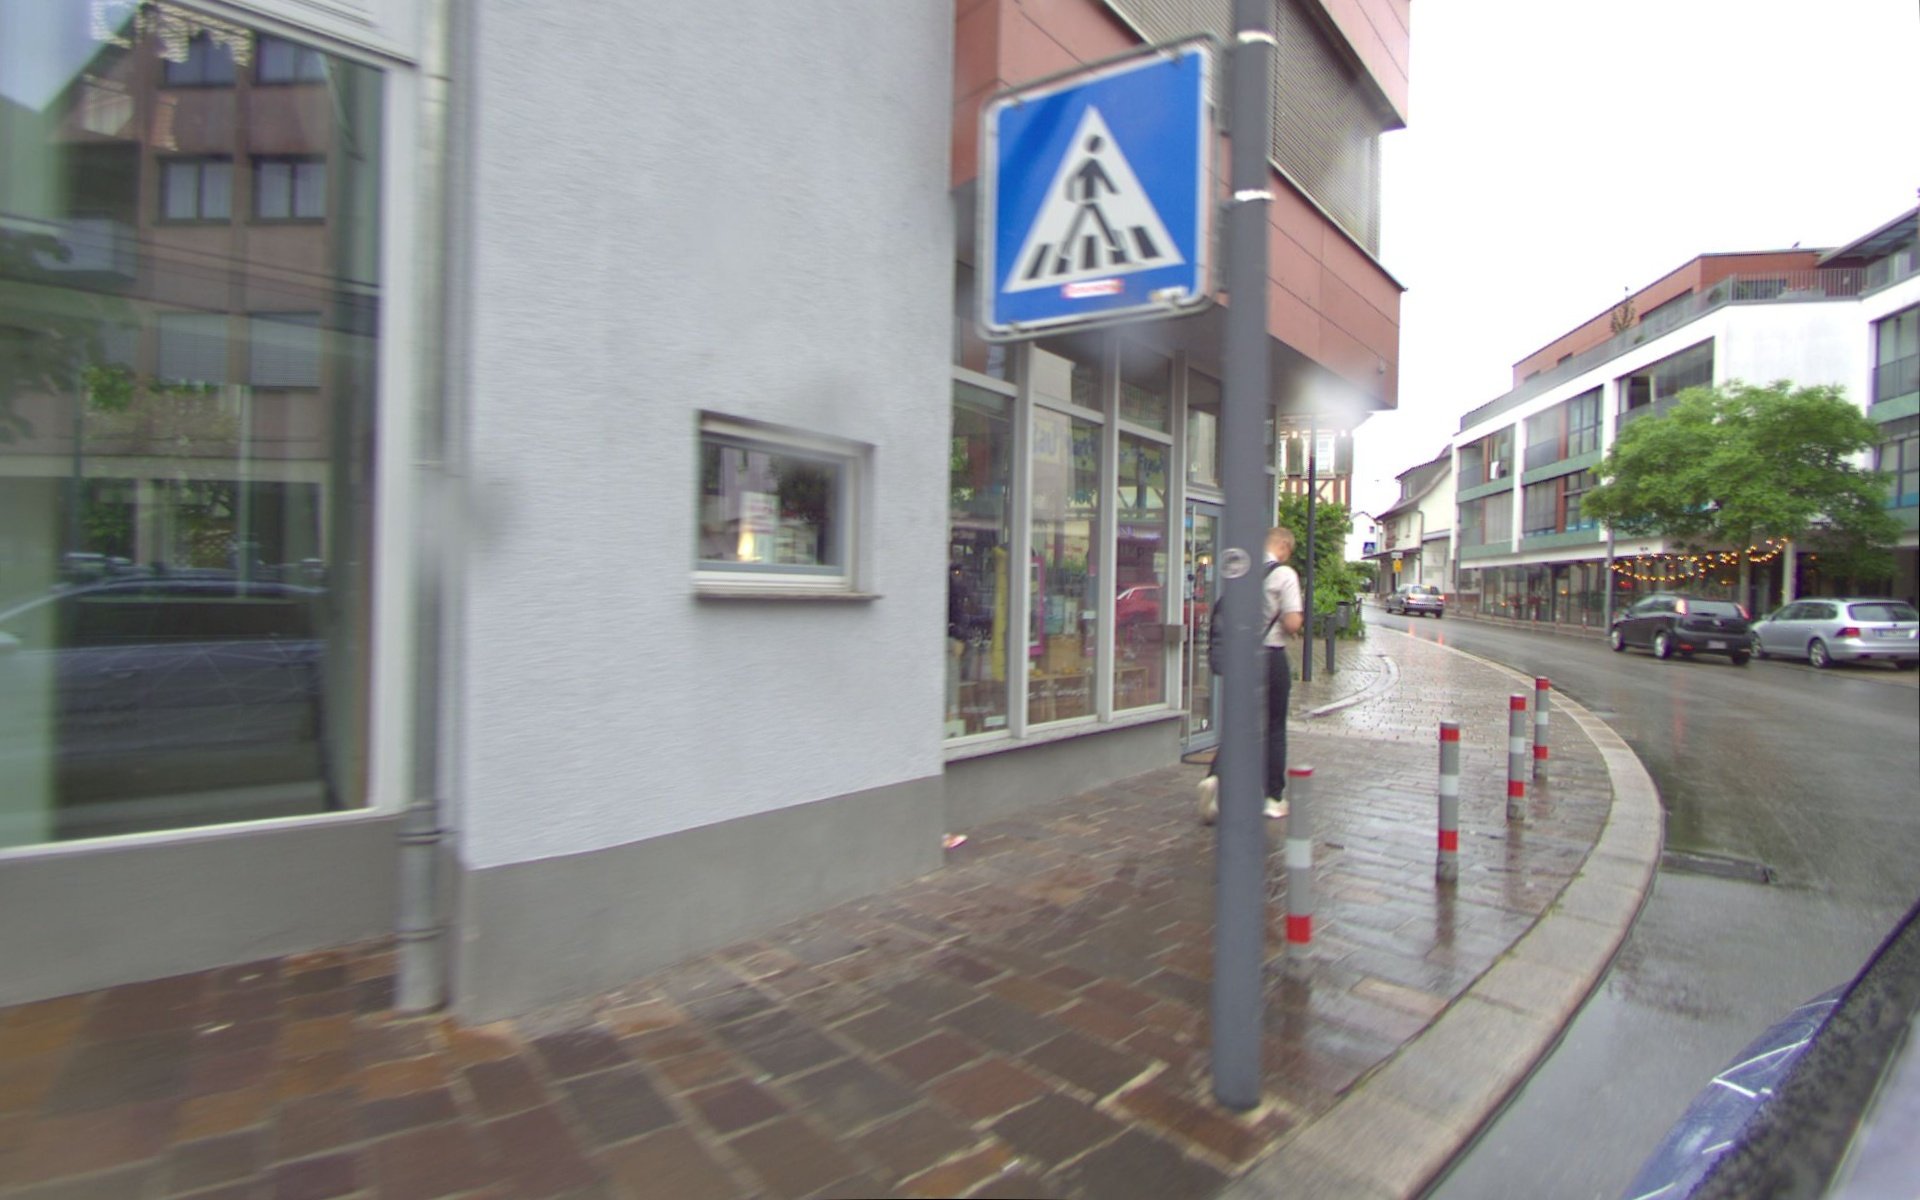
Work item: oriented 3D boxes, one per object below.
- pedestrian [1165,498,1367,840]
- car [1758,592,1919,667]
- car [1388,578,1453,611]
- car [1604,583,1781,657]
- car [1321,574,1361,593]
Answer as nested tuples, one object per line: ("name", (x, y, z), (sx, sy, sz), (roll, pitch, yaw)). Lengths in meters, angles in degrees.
("pedestrian", (1.866, 0.356, 6.105), (0.818, 1.828, 1.131), (0, 1, 38))
("car", (19.014, 0.551, 21.500), (1.700, 1.412, 3.848), (0, 1, 12))
("car", (20.887, -0.285, 46.044), (1.749, 1.430, 3.724), (0, 1, 9))
("car", (16.498, 0.375, 23.084), (1.760, 1.483, 4.493), (1, 1, 15))
("car", (41.442, -1.767, 110.018), (3.957, 2.039, 1.984), (0, 1, 25))
